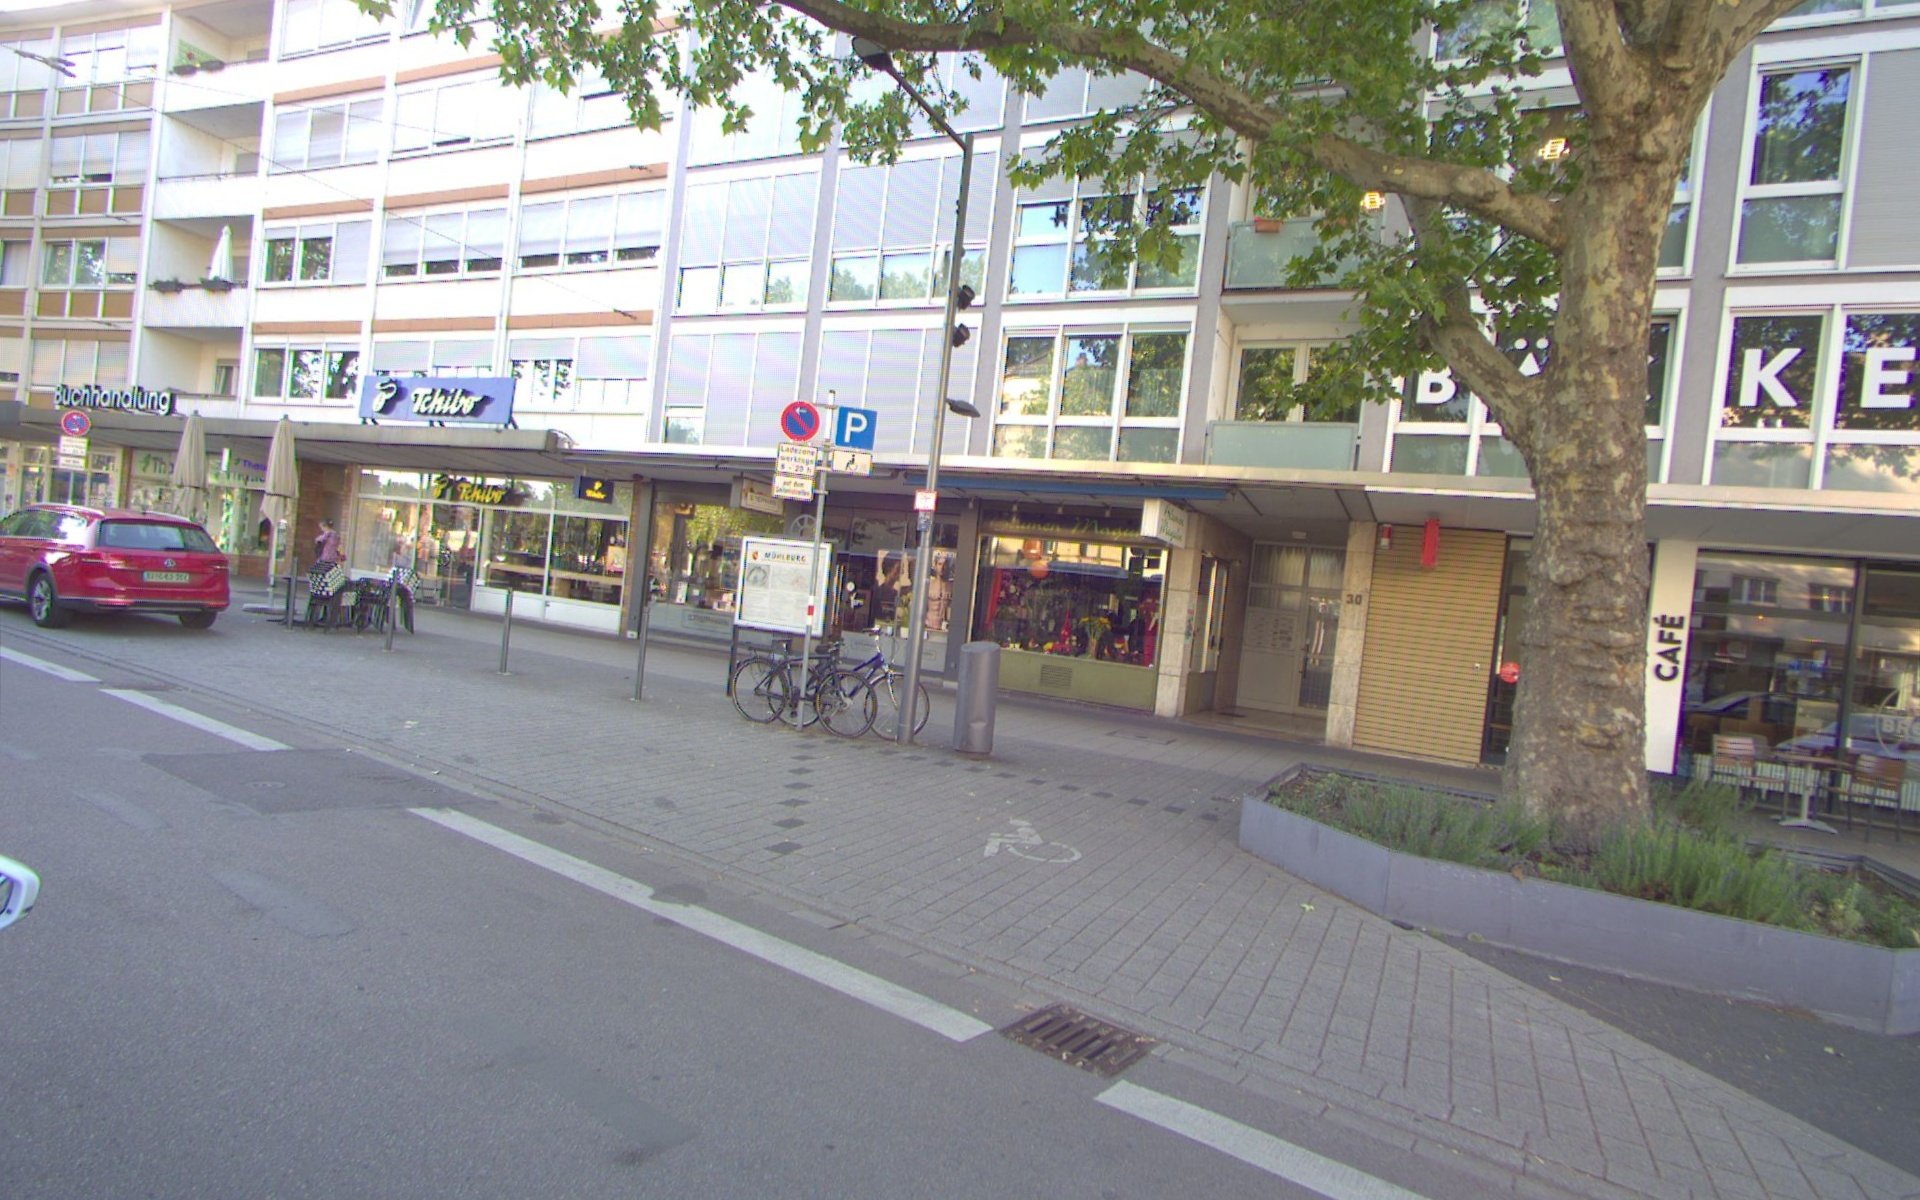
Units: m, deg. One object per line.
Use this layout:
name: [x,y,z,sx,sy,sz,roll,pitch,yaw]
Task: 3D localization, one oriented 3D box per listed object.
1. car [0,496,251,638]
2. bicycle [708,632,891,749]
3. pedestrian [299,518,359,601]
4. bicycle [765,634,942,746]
car: [-11.655,-0.496,13.458,4.229,1.502,1.772,6,1,28]
bicycle: [-1.637,0.897,10.240,1.743,0.951,0.391,6,2,12]
pedestrian: [-13.092,-0.838,20.870,0.776,1.613,0.651,7,3,26]
bicycle: [-1.119,0.928,10.555,1.743,0.931,0.391,6,2,12]
